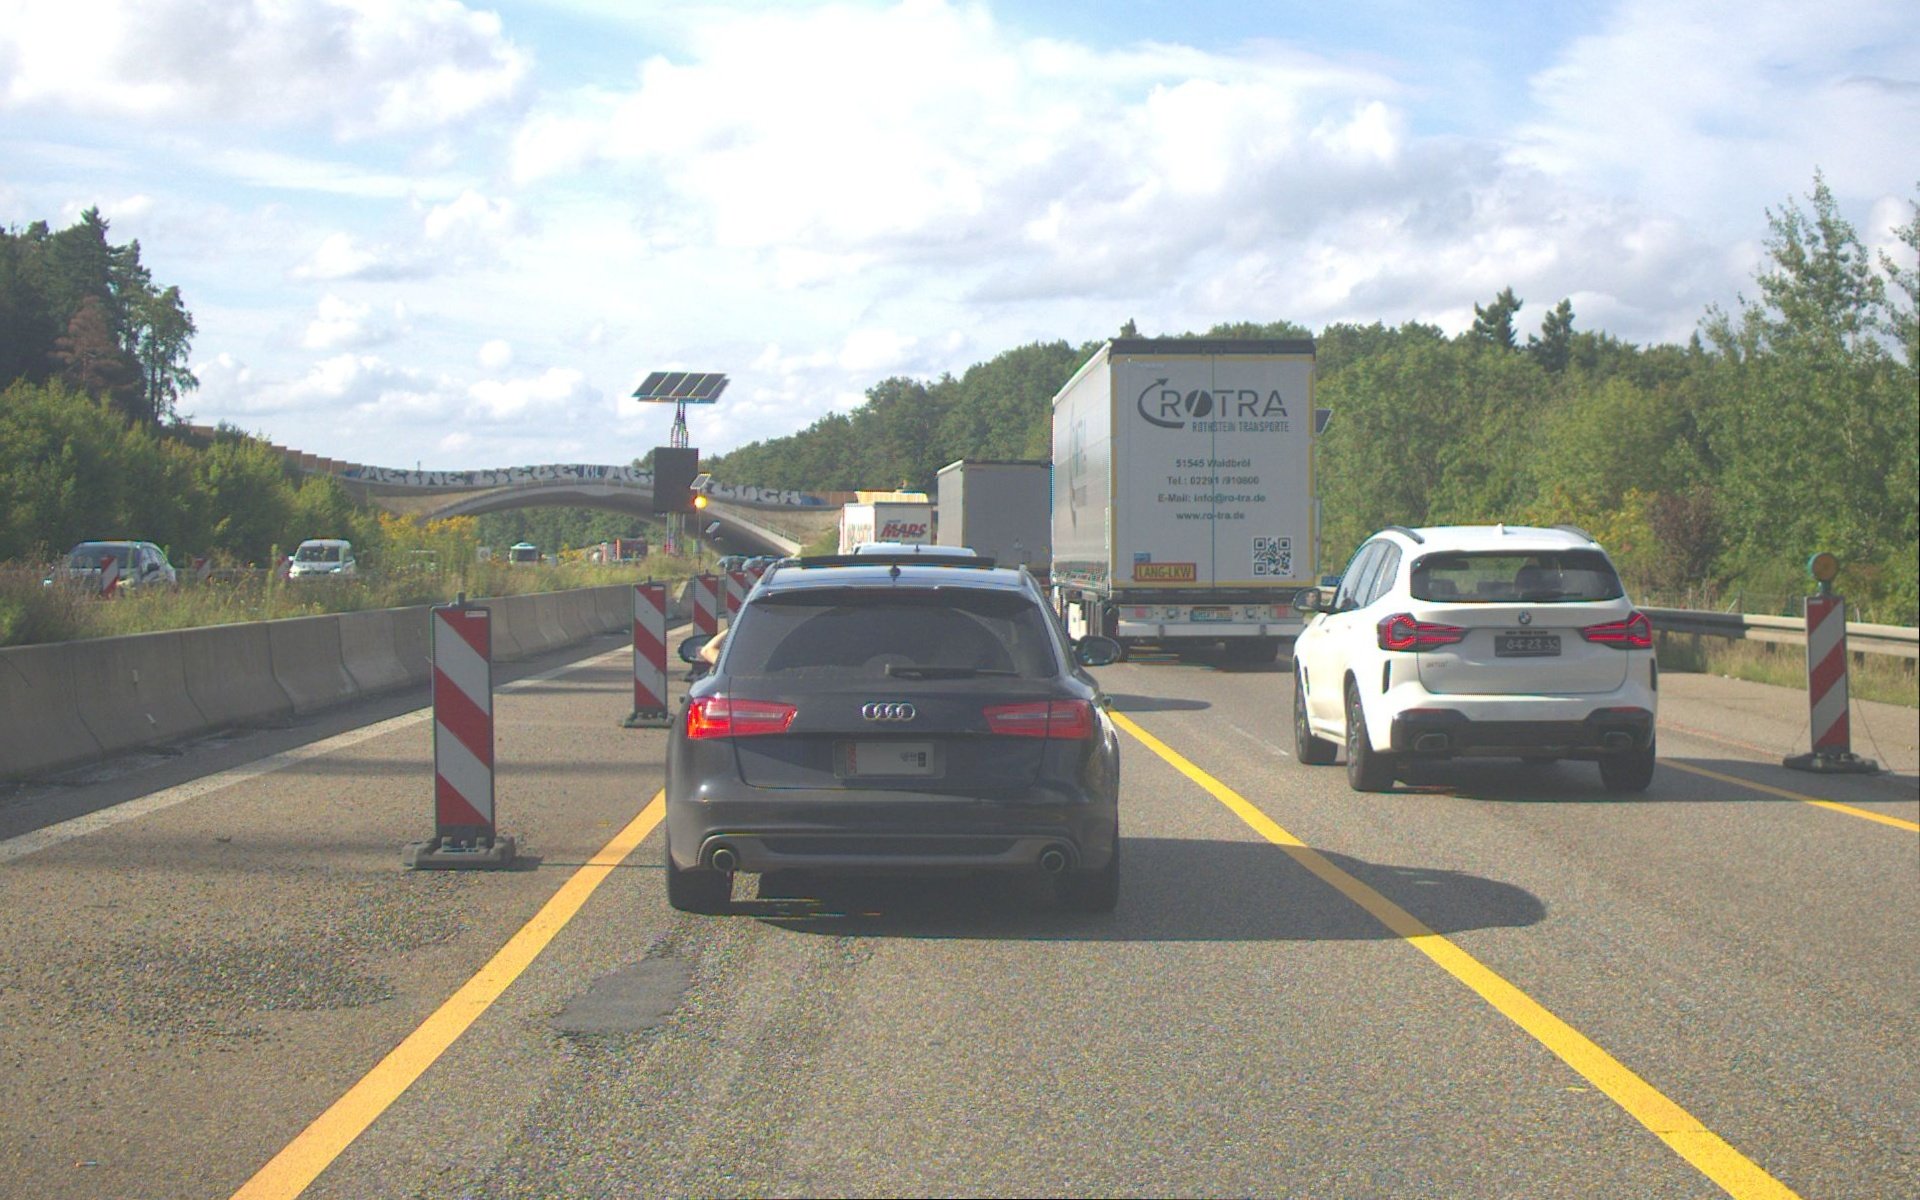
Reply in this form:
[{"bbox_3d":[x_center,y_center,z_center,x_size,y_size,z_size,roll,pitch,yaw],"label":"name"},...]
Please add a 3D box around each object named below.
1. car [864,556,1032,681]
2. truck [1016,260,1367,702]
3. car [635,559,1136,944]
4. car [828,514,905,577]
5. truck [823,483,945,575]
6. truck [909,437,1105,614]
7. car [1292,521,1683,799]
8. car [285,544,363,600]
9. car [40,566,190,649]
[{"bbox_3d":[-0.195,0.200,42.273,1.890,1.441,4.000,1,1,-2],"label":"car"},{"bbox_3d":[2.956,-1.529,50.016,3.677,5.335,16.202,1,1,-1],"label":"truck"},{"bbox_3d":[-0.307,0.559,15.094,1.890,1.441,4.000,1,1,-1],"label":"car"},{"bbox_3d":[-2.533,-1.445,92.226,1.890,1.638,4.018,1,1,-4],"label":"car"},{"bbox_3d":[-3.509,-3.139,154.224,3.653,3.915,11.070,1,1,-11],"label":"truck"},{"bbox_3d":[1.163,-2.004,95.720,4.318,4.584,11.127,1,1,-5],"label":"truck"},{"bbox_3d":[3.353,0.340,22.594,1.890,1.638,4.018,1,1,-1],"label":"car"},{"bbox_3d":[-21.001,-0.933,113.673,1.778,1.780,4.365,1,1,-1],"label":"car"},{"bbox_3d":[-15.508,0.122,63.301,1.778,1.451,4.105,1,1,-1],"label":"car"}]
